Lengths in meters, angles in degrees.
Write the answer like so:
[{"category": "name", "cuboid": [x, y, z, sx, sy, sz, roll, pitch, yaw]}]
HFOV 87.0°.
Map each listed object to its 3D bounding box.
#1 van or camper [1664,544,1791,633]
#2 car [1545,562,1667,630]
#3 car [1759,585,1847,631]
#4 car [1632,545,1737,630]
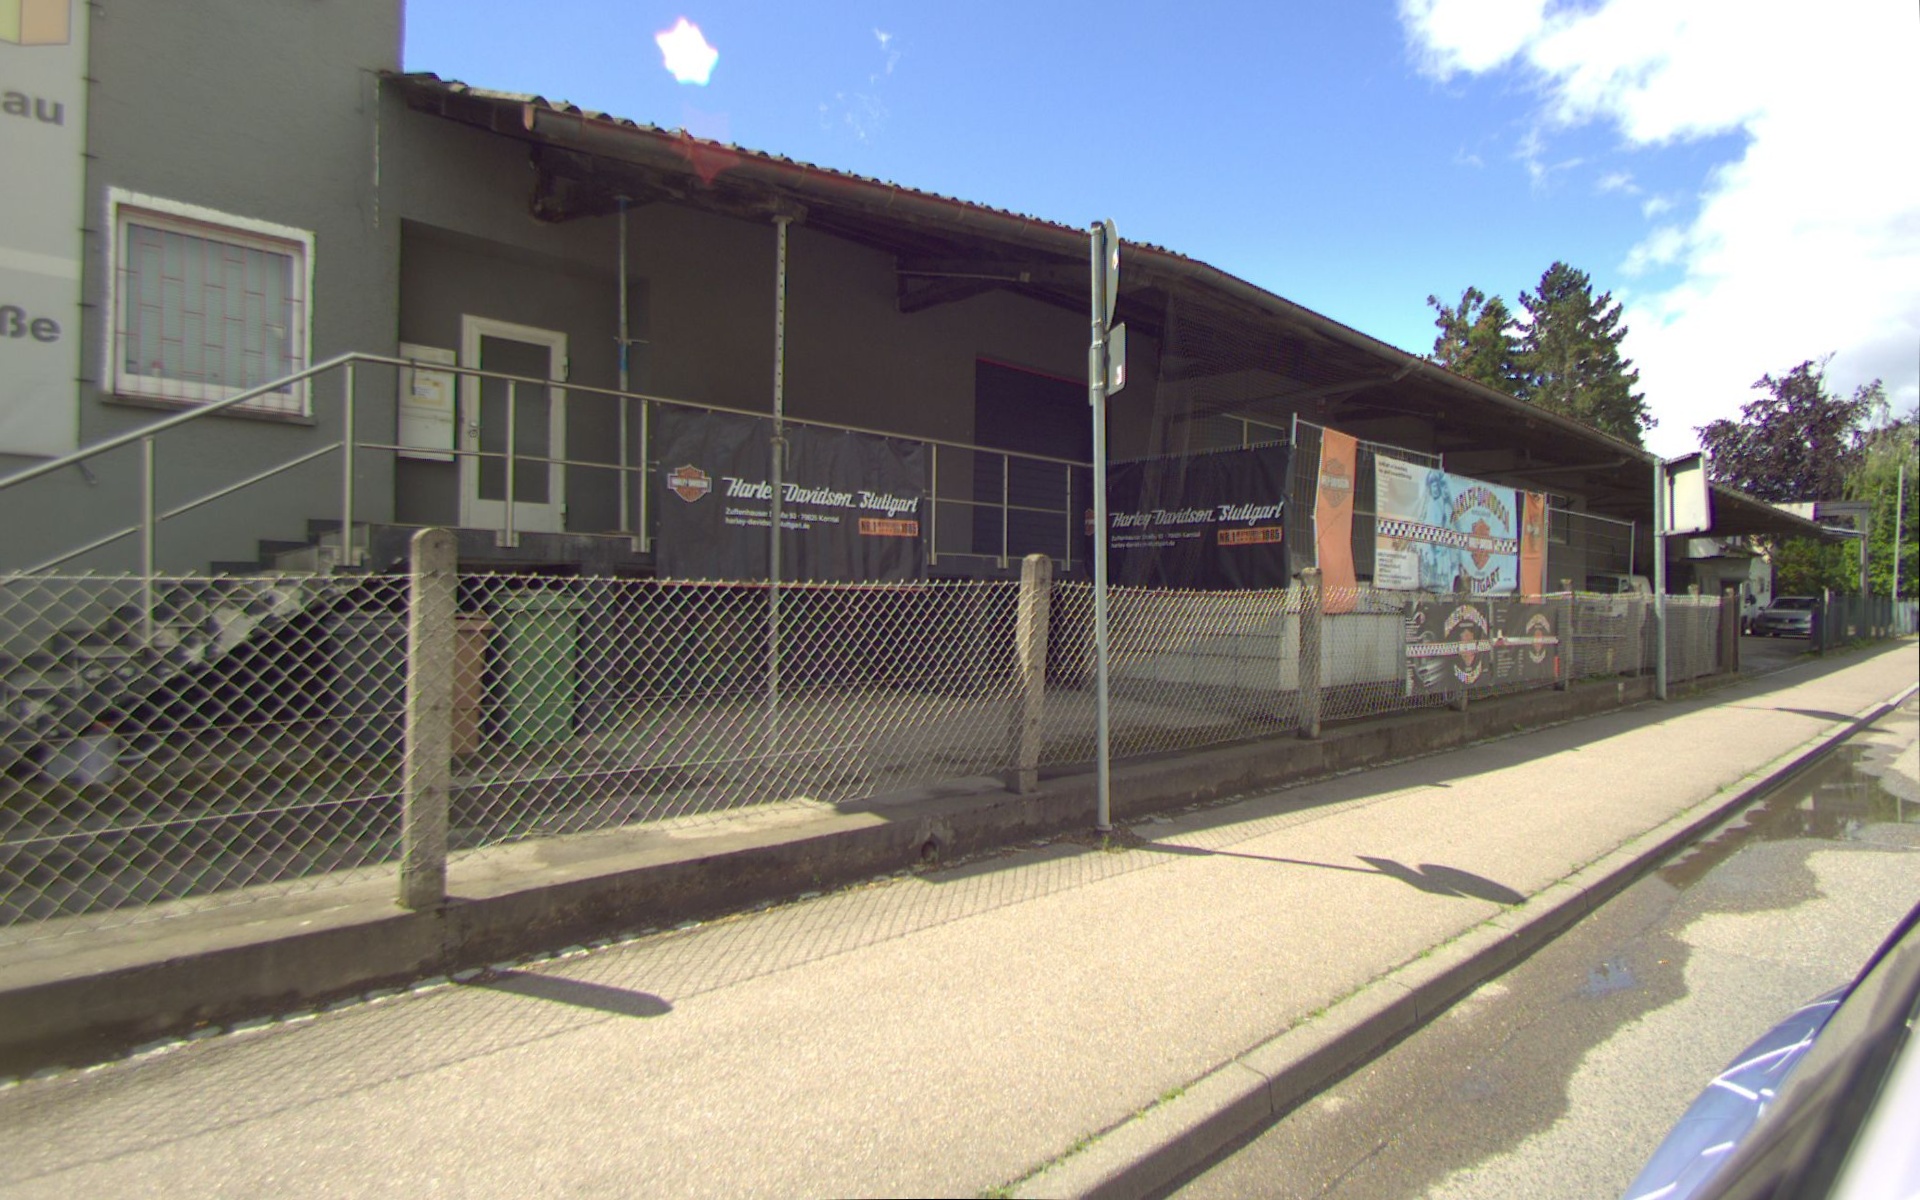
[{"category": "van or camper", "cuboid": [29.603, -0.431, 38.927, 6.798, 3.099, 2.883, 0, 0, -44]}, {"category": "car", "cuboid": [19.792, -0.102, 30.911, 4.770, 1.934, 1.996, 1, 0, -43]}, {"category": "car", "cuboid": [29.640, 0.287, 35.538, 4.842, 1.508, 1.766, 1, 0, -43]}, {"category": "car", "cuboid": [25.134, -0.367, 35.041, 5.405, 2.715, 2.019, 2, -1, -44]}]
